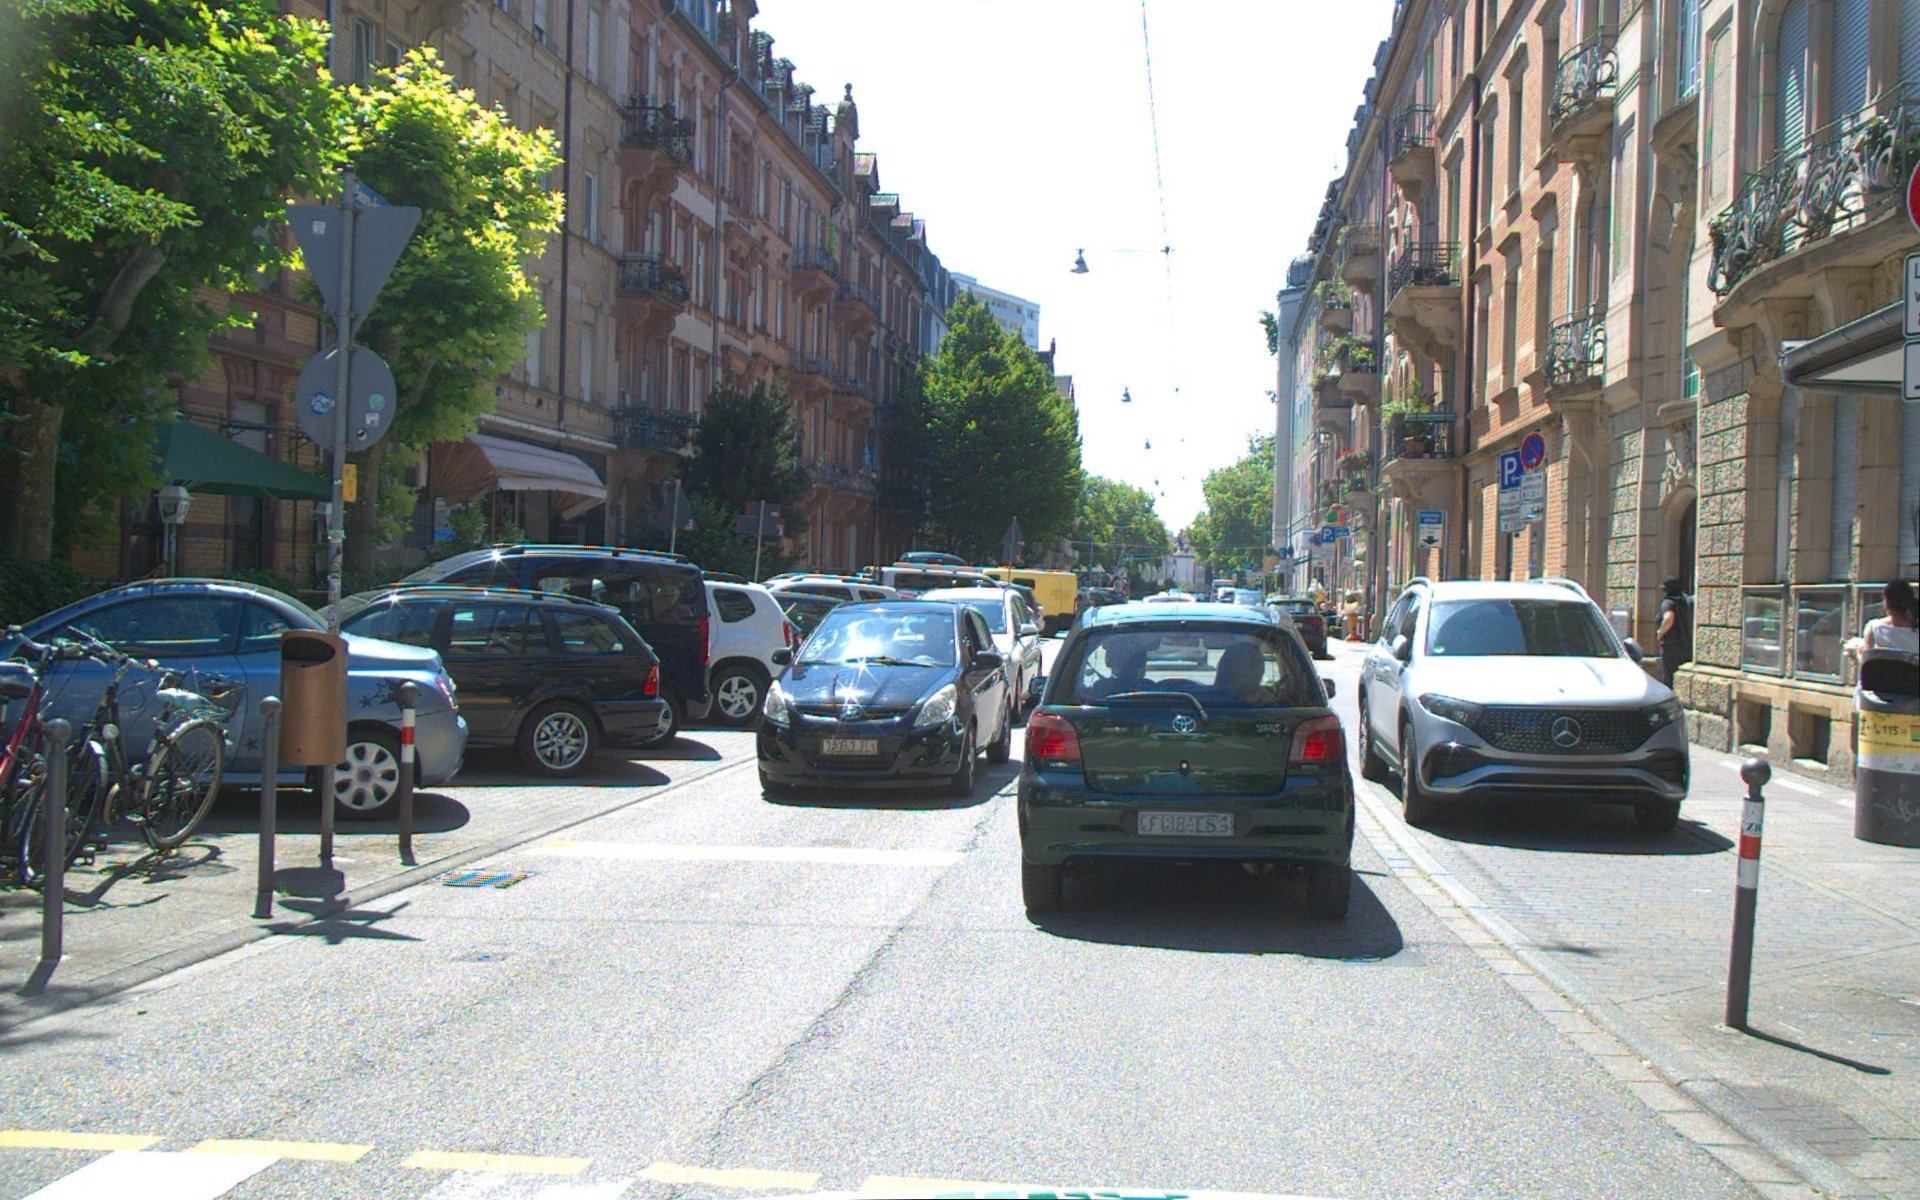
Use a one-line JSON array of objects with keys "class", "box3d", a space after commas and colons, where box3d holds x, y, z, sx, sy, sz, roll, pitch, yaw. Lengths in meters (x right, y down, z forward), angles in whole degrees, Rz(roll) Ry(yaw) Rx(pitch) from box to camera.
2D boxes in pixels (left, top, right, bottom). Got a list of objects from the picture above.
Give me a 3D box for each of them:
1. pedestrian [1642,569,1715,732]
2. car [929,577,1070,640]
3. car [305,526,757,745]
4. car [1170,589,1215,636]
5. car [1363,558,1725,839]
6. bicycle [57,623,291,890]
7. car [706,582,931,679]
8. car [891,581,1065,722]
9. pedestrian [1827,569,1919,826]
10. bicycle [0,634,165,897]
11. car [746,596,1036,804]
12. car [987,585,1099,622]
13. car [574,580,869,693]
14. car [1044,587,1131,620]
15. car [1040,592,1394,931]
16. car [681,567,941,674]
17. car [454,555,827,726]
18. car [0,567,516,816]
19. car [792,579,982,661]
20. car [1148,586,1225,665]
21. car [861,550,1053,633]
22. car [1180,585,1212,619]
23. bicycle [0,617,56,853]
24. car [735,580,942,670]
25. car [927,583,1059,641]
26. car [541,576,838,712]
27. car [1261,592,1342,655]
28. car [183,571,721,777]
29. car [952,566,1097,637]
[{"class": "pedestrian", "box3d": [8.012, 0.550, 18.463, 0.501, 1.781, 0.749, 0, 1, 1]}, {"class": "car", "box3d": [1.164, 0.258, 49.393, 3.845, 1.738, 1.858, 2, 0, -15]}, {"class": "car", "box3d": [-4.115, 0.343, 15.892, 3.930, 1.835, 1.758, 3, 1, -21]}, {"class": "car", "box3d": [8.438, 0.425, 59.951, 1.490, 1.620, 3.267, 2, 1, 10]}, {"class": "car", "box3d": [4.207, 0.606, 12.657, 1.831, 1.743, 4.507, 0, 0, 9]}, {"class": "bicycle", "box3d": [-4.073, 0.758, 8.696, 0.481, 1.193, 1.683, 3, 1, -4]}, {"class": "car", "box3d": [-2.639, 0.556, 30.569, 3.845, 1.647, 1.858, 2, 0, -15]}, {"class": "car", "box3d": [0.349, 0.616, 22.200, 1.717, 1.674, 4.381, -1, 0, 9]}, {"class": "pedestrian", "box3d": [6.318, 0.632, 11.093, 0.627, 1.652, 0.805, 1, 0, 8]}, {"class": "bicycle", "box3d": [-4.598, 0.765, 8.189, 0.481, 1.100, 1.897, 3, 1, -4]}, {"class": "car", "box3d": [-0.422, 0.715, 14.062, 1.717, 1.469, 4.003, 1, 0, 9]}, {"class": "car", "box3d": [3.616, 0.171, 72.450, 4.488, 1.459, 1.990, 2, 0, -19]}, {"class": "car", "box3d": [-3.468, 0.530, 24.190, 3.870, 1.495, 1.846, 2, 0, -31]}, {"class": "car", "box3d": [7.311, 0.205, 94.824, 4.536, 1.756, 1.990, 2, 0, -19]}, {"class": "car", "box3d": [1.237, 0.727, 9.050, 1.580, 1.511, 3.242, 0, 0, 3]}, {"class": "car", "box3d": [-2.456, 0.346, 27.434, 3.872, 1.647, 1.846, 2, 0, -32]}, {"class": "car", "box3d": [-3.642, 0.444, 18.886, 3.921, 1.686, 1.753, 3, 1, -15]}, {"class": "car", "box3d": [-5.075, 0.571, 10.911, 3.929, 1.399, 1.988, 3, 1, -21]}, {"class": "car", "box3d": [-1.629, 0.428, 36.403, 3.845, 1.647, 1.858, 2, 0, -15]}, {"class": "car", "box3d": [4.776, 0.499, 34.887, 1.490, 1.547, 3.266, 2, 1, 8]}, {"class": "car", "box3d": [-0.096, -0.223, 44.220, 4.704, 2.029, 2.041, 2, 0, -21]}, {"class": "car", "box3d": [11.737, 0.087, 82.340, 1.490, 1.620, 3.266, 2, 1, 7]}, {"class": "bicycle", "box3d": [-5.005, 0.698, 8.091, 0.331, 1.176, 1.619, 3, 1, -4]}, {"class": "car", "box3d": [-2.464, 0.495, 33.186, 3.845, 1.647, 1.858, 2, 0, -15]}, {"class": "car", "box3d": [1.031, 0.363, 52.001, 3.798, 1.668, 1.778, 2, 0, -15]}, {"class": "car", "box3d": [-3.477, 0.547, 21.140, 3.558, 1.483, 1.619, 3, 1, -15]}, {"class": "car", "box3d": [8.339, 0.545, 40.682, 1.717, 1.454, 4.003, 1, 0, 9]}, {"class": "car", "box3d": [-4.171, 0.607, 13.667, 3.934, 1.436, 1.957, 3, 1, -24]}, {"class": "car", "box3d": [2.172, 0.043, 56.074, 4.488, 2.225, 1.990, 2, 0, -19]}]
